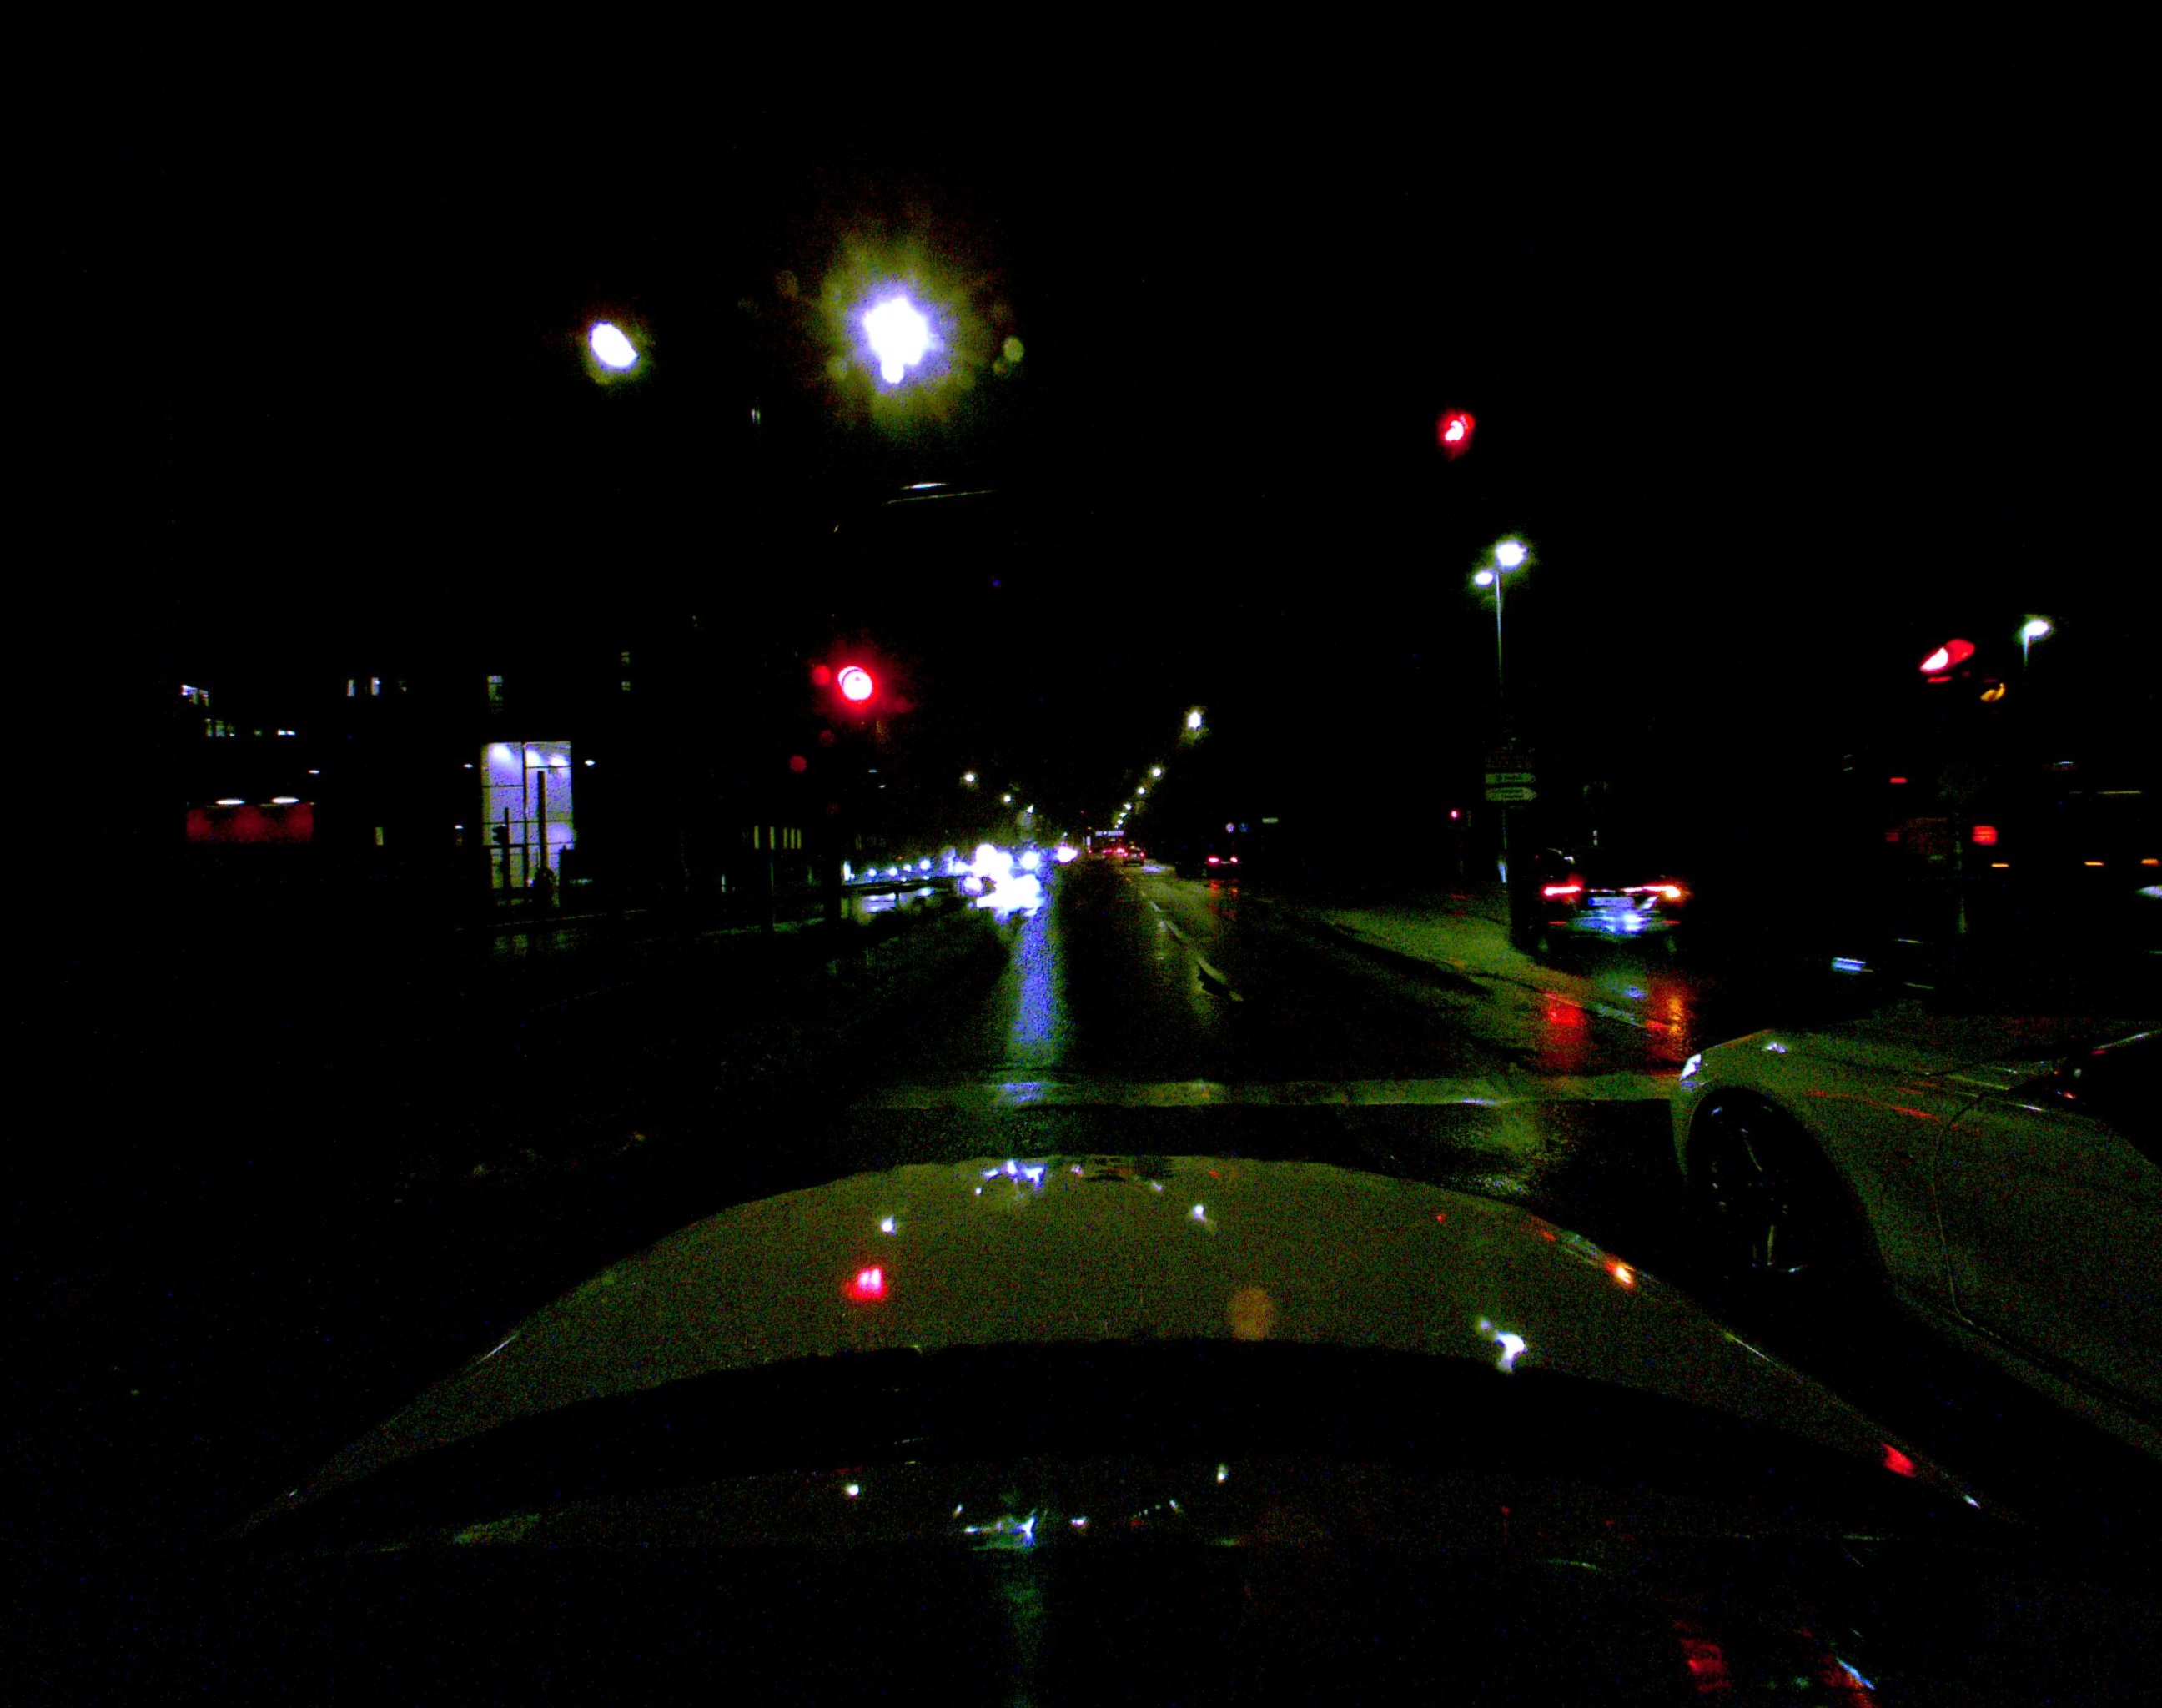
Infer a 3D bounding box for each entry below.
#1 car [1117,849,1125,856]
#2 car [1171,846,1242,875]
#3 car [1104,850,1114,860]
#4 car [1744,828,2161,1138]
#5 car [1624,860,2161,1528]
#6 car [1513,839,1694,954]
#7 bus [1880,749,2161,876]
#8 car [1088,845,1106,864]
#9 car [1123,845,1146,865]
[{"bbox_3d":[10.873,-0.466,220.927,1.986,1.759,4.001,0,-1,2],"label":"car"},{"bbox_3d":[6.741,0.341,44.194,1.800,1.487,4.118,0,-1,-25],"label":"car"},{"bbox_3d":[5.220,0.155,153.316,1.784,1.874,4.628,0,-1,1],"label":"car"},{"bbox_3d":[6.150,0.612,4.086,1.842,1.484,4.628,-2,1,-1],"label":"car"},{"bbox_3d":[3.124,0.715,1.305,1.710,1.404,4.351,0,-1,2],"label":"car"},{"bbox_3d":[8.036,0.571,12.969,1.821,1.478,4.655,-1,-1,25],"label":"car"},{"bbox_3d":[27.543,-1.071,21.694,9.694,3.123,2.779,-1,0,1],"label":"bus"},{"bbox_3d":[1.606,0.037,82.192,1.784,1.874,4.628,0,-1,1],"label":"car"},{"bbox_3d":[4.859,0.115,73.857,1.785,1.679,4.427,0,-1,0],"label":"car"}]
